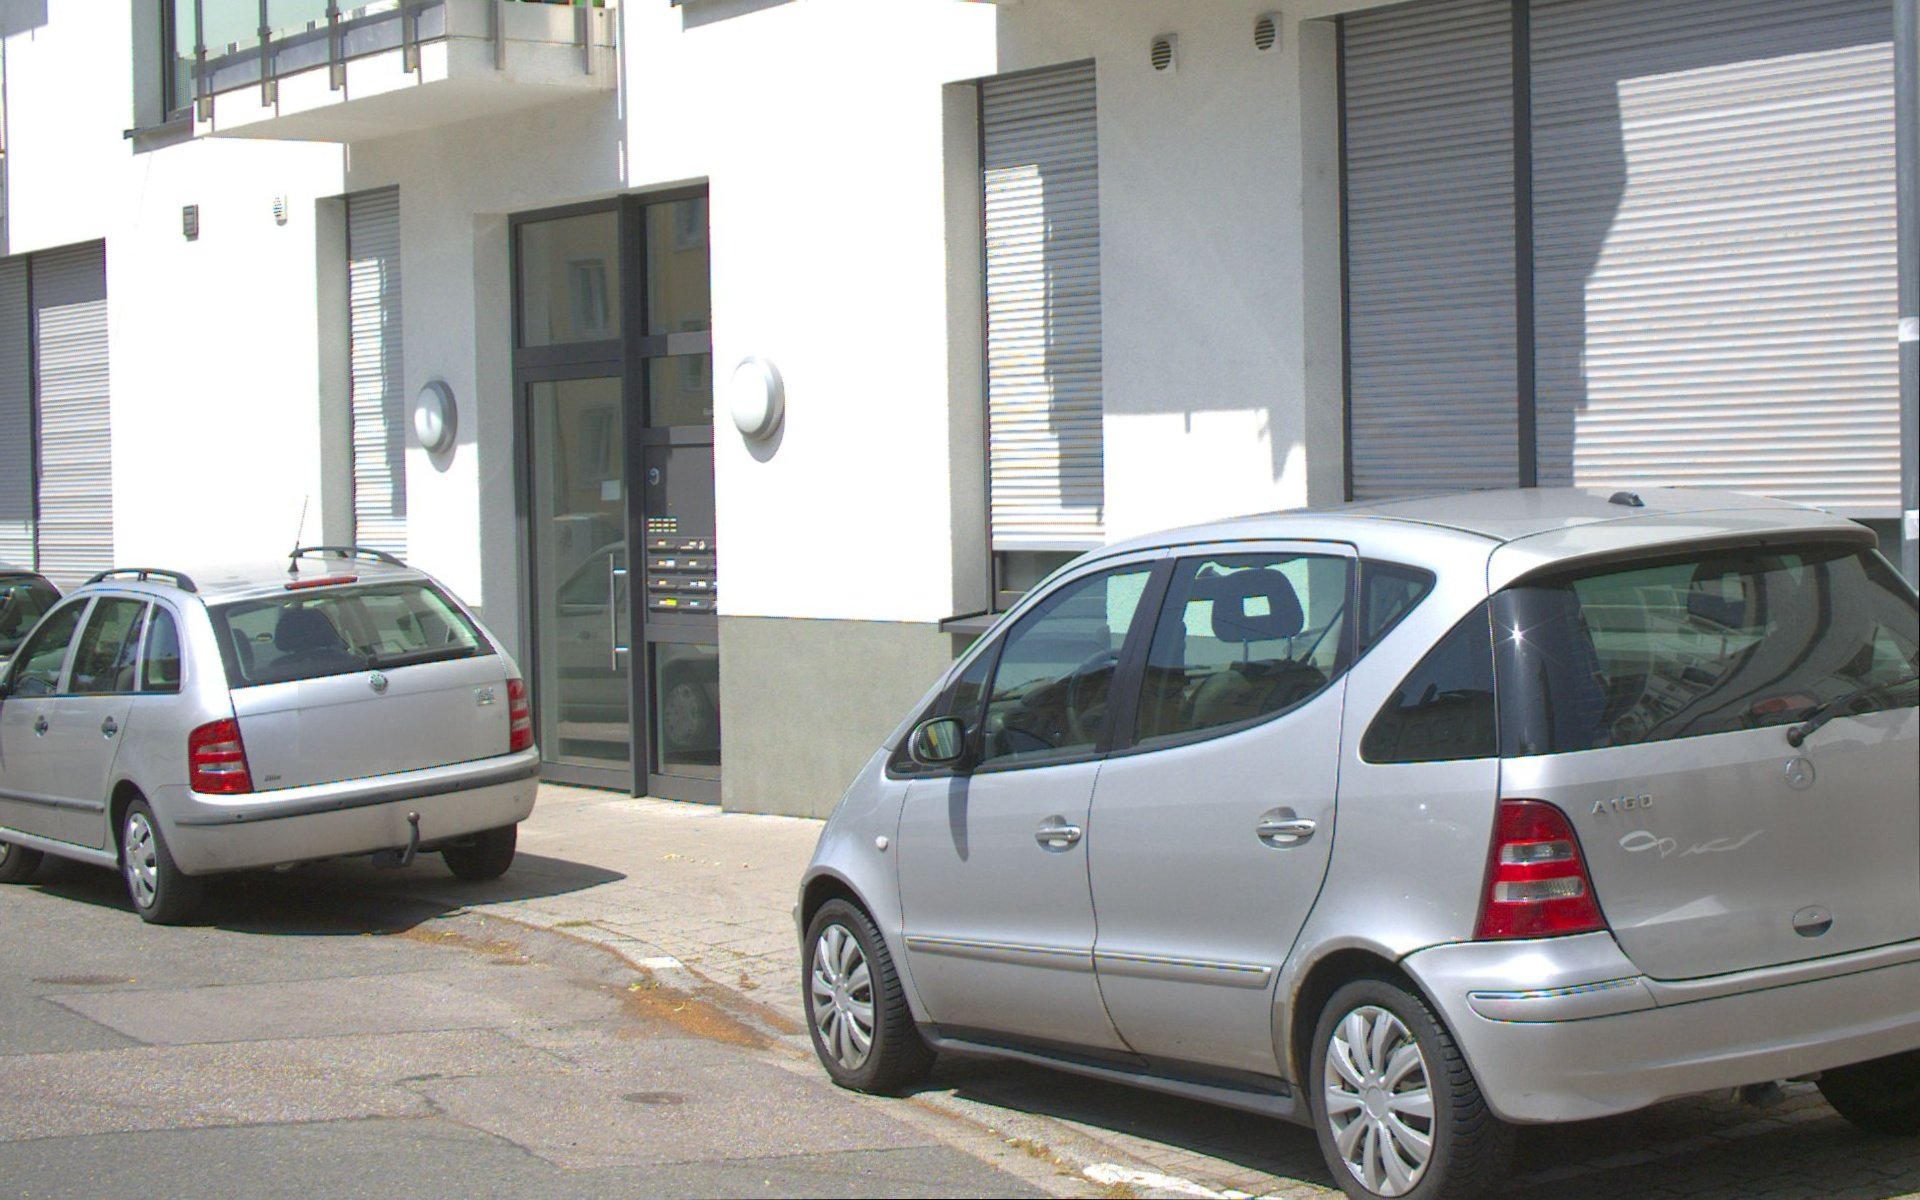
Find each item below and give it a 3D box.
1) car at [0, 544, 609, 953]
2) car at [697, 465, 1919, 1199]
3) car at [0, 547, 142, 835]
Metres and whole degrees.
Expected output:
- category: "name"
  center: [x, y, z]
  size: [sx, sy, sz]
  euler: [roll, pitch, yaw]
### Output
- category: "car"
  center: [-3.308, 0.538, 15.363]
  size: [1.727, 1.428, 4.042]
  euler: [-6, 4, -32]
- category: "car"
  center: [0.953, 0.531, 8.943]
  size: [1.727, 1.605, 3.800]
  euler: [-5, 2, -29]
- category: "car"
  center: [-6.137, 0.499, 19.253]
  size: [1.593, 1.428, 3.706]
  euler: [-7, 4, -36]
